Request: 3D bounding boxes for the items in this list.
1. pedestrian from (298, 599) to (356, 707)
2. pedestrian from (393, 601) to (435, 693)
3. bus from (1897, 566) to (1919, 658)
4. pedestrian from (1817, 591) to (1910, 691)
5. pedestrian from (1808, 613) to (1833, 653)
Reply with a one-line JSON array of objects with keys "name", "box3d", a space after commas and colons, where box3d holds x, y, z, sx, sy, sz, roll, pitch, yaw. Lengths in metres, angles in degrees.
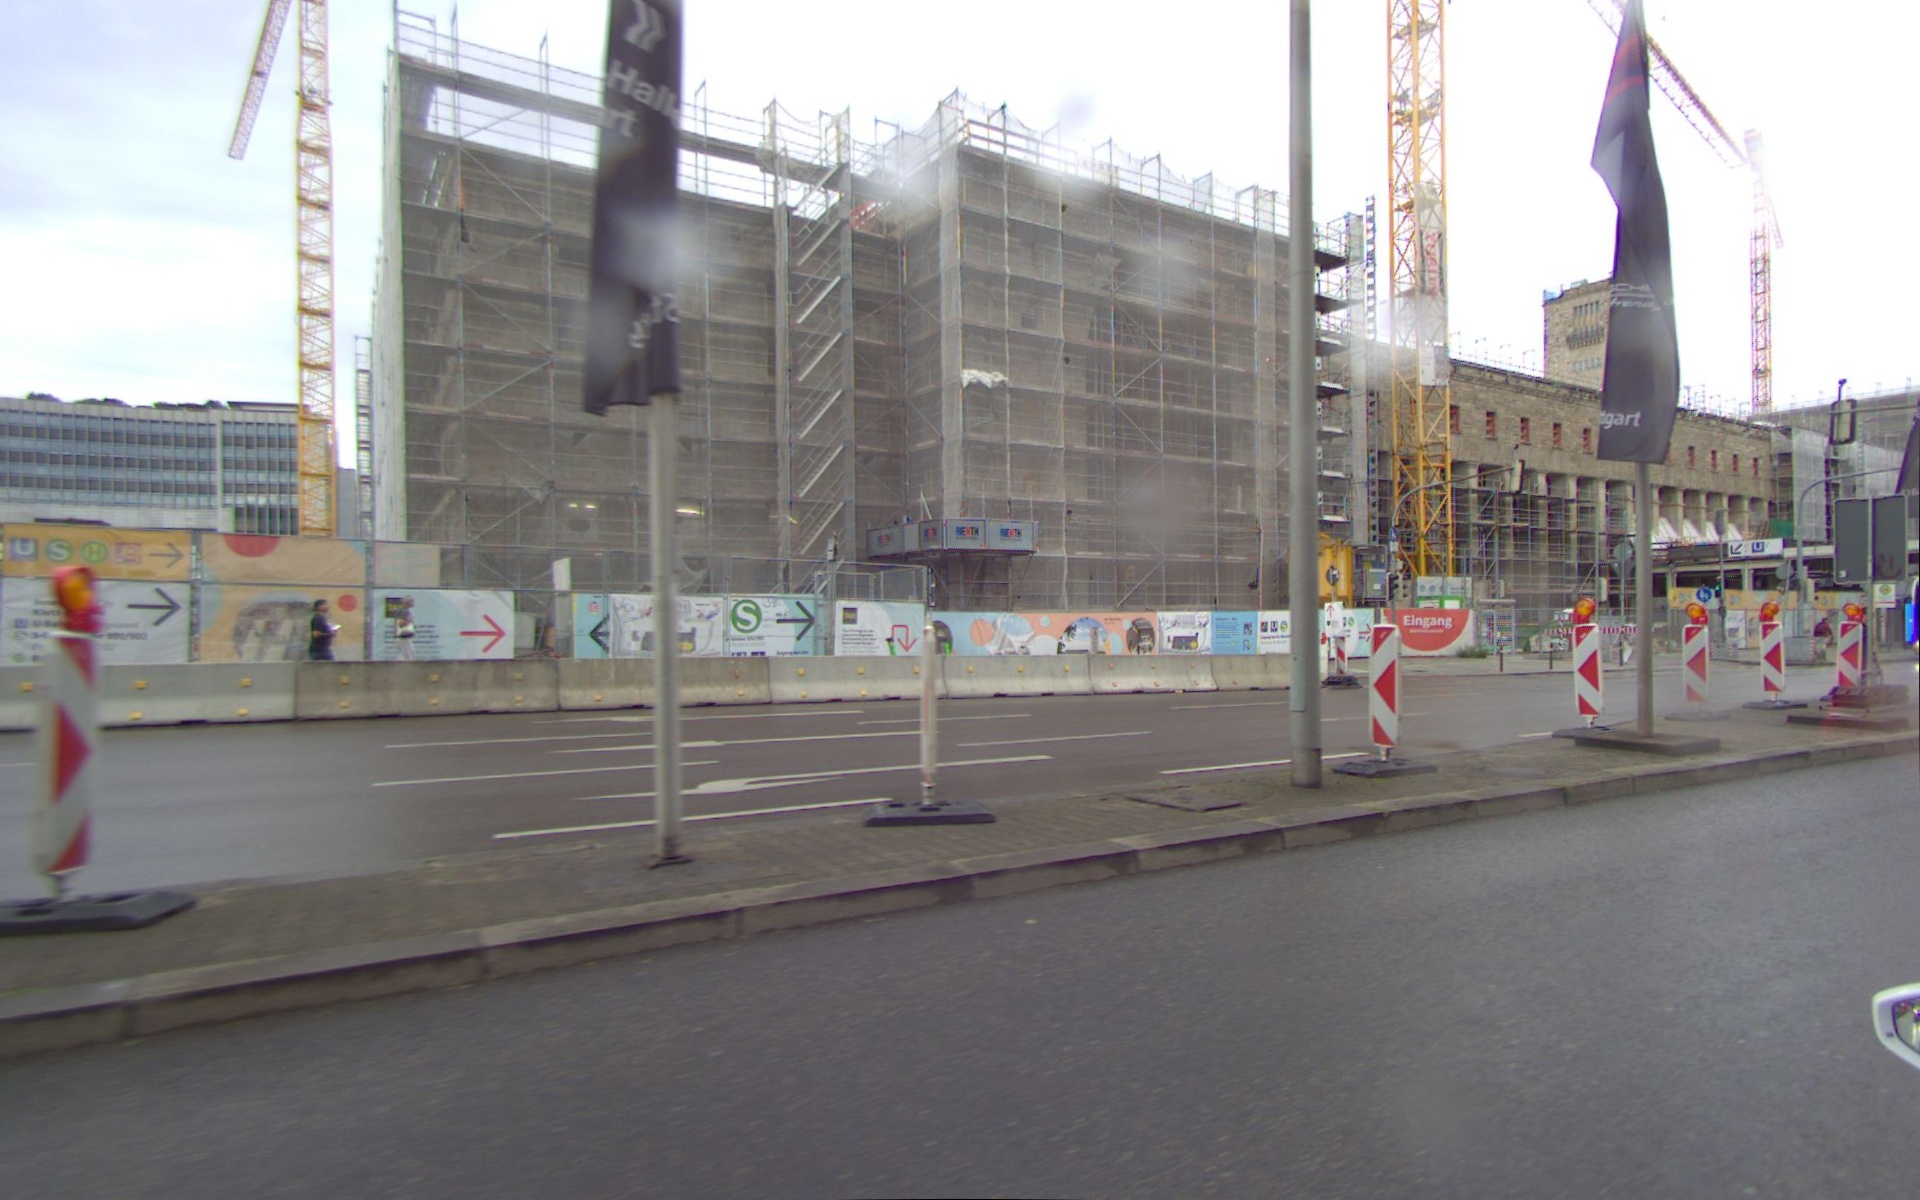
[{"name": "pedestrian", "box3d": [-11.205, 0.927, 17.801, 0.810, 1.860, 0.576, 1, 0, -30]}, {"name": "pedestrian", "box3d": [-11.276, 0.955, 20.748, 0.709, 1.860, 0.478, 1, 0, -30]}, {"name": "bus", "box3d": [42.644, 0.600, 41.661, 10.118, 3.650, 2.656, 1, 0, -30]}, {"name": "pedestrian", "box3d": [16.587, 0.763, 18.462, 0.646, 1.774, 1.090, 1, -3, -32]}, {"name": "pedestrian", "box3d": [40.244, 1.530, 46.966, 0.789, 1.879, 0.659, 1, -1, -30]}]
